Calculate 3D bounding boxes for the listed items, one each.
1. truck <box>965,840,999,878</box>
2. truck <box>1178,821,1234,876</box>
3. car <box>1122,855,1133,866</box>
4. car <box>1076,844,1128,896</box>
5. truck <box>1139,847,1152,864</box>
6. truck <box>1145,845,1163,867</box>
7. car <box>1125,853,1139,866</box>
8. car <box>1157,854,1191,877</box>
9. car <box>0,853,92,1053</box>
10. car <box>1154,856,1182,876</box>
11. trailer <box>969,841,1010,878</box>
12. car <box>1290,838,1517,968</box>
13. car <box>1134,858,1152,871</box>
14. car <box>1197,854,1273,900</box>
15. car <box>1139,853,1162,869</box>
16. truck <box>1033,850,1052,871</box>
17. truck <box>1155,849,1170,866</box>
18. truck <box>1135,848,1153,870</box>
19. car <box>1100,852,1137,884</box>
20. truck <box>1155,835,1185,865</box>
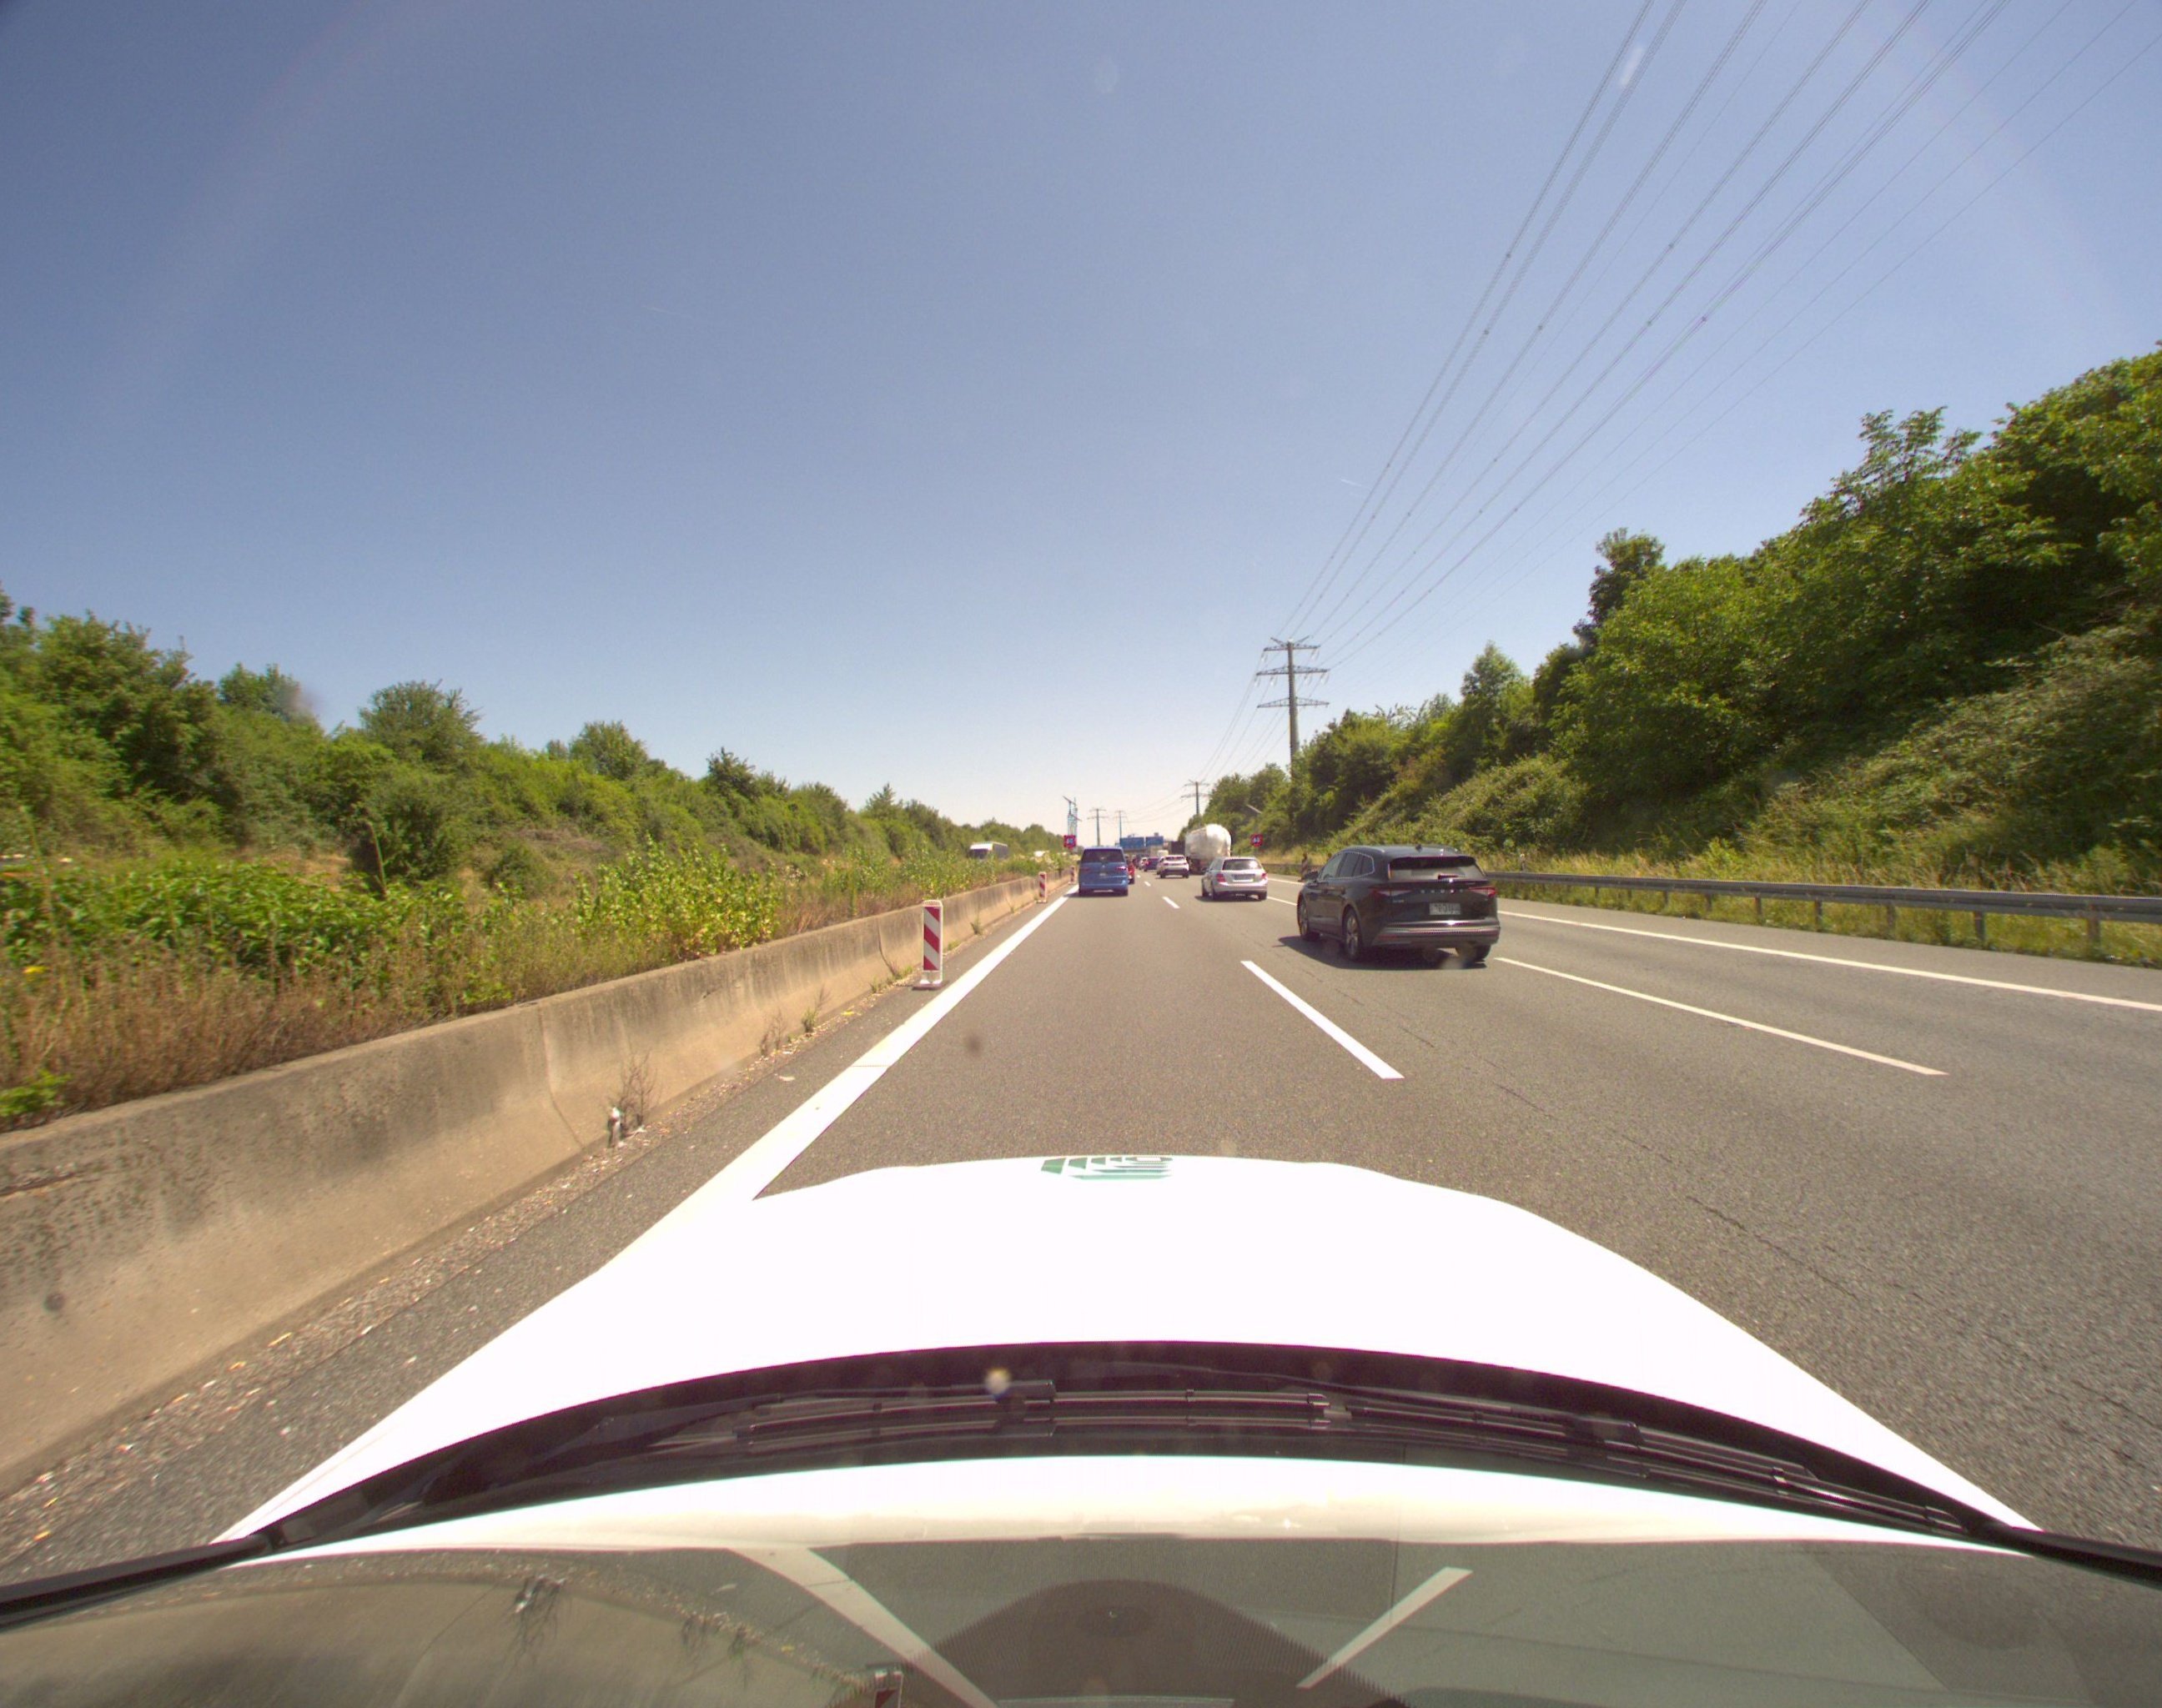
[{"bbox_3d":[-11.781,0.612,97.337,2.741,4.167,6.414,-5,-1,2],"label":"truck"},{"bbox_3d":[10.279,-0.361,68.835,2.635,4.072,16.445,0,0,2],"label":"truck"},{"bbox_3d":[8.811,1.268,153.383,1.985,2.014,4.003,0,0,3],"label":"car"},{"bbox_3d":[0.771,0.603,32.161,1.865,1.879,4.381,0,0,-1],"label":"car"},{"bbox_3d":[17.418,0.476,221.316,2.927,4.291,12.555,0,0,2],"label":"truck"},{"bbox_3d":[14.918,0.348,166.533,2.927,4.291,12.555,0,0,2],"label":"truck"},{"bbox_3d":[8.143,0.820,130.314,1.986,2.014,4.001,0,0,1],"label":"car"},{"bbox_3d":[6.236,0.754,54.829,1.902,1.508,3.921,0,0,1],"label":"car"},{"bbox_3d":[-12.425,1.083,7.039,1.986,2.096,4.608,-3,0,1],"label":"car"},{"bbox_3d":[7.142,0.956,67.081,1.902,1.569,4.383,0,0,1],"label":"car"},{"bbox_3d":[-11.511,0.656,104.088,2.742,4.166,14.203,-5,0,2],"label":"trailer"},{"bbox_3d":[4.610,0.616,12.434,1.821,1.614,4.432,-1,0,2],"label":"car"},{"bbox_3d":[7.250,1.203,95.381,1.902,1.516,4.383,0,0,1],"label":"car"},{"bbox_3d":[5.121,0.736,27.612,1.815,1.437,4.383,0,0,1],"label":"car"},{"bbox_3d":[6.891,0.694,80.987,1.902,1.516,4.383,0,0,1],"label":"car"},{"bbox_3d":[-7.643,1.275,163.210,2.752,3.888,9.033,-5,-1,2],"label":"truck"},{"bbox_3d":[13.641,0.603,136.834,1.986,2.724,5.681,0,0,1],"label":"truck"},{"bbox_3d":[8.315,0.651,107.738,1.986,2.724,5.681,0,0,1],"label":"truck"},{"bbox_3d":[2.022,0.739,45.123,1.901,1.631,4.384,-1,0,1],"label":"car"},{"bbox_3d":[10.976,-0.397,101.584,2.635,3.539,12.555,0,0,2],"label":"truck"}]
